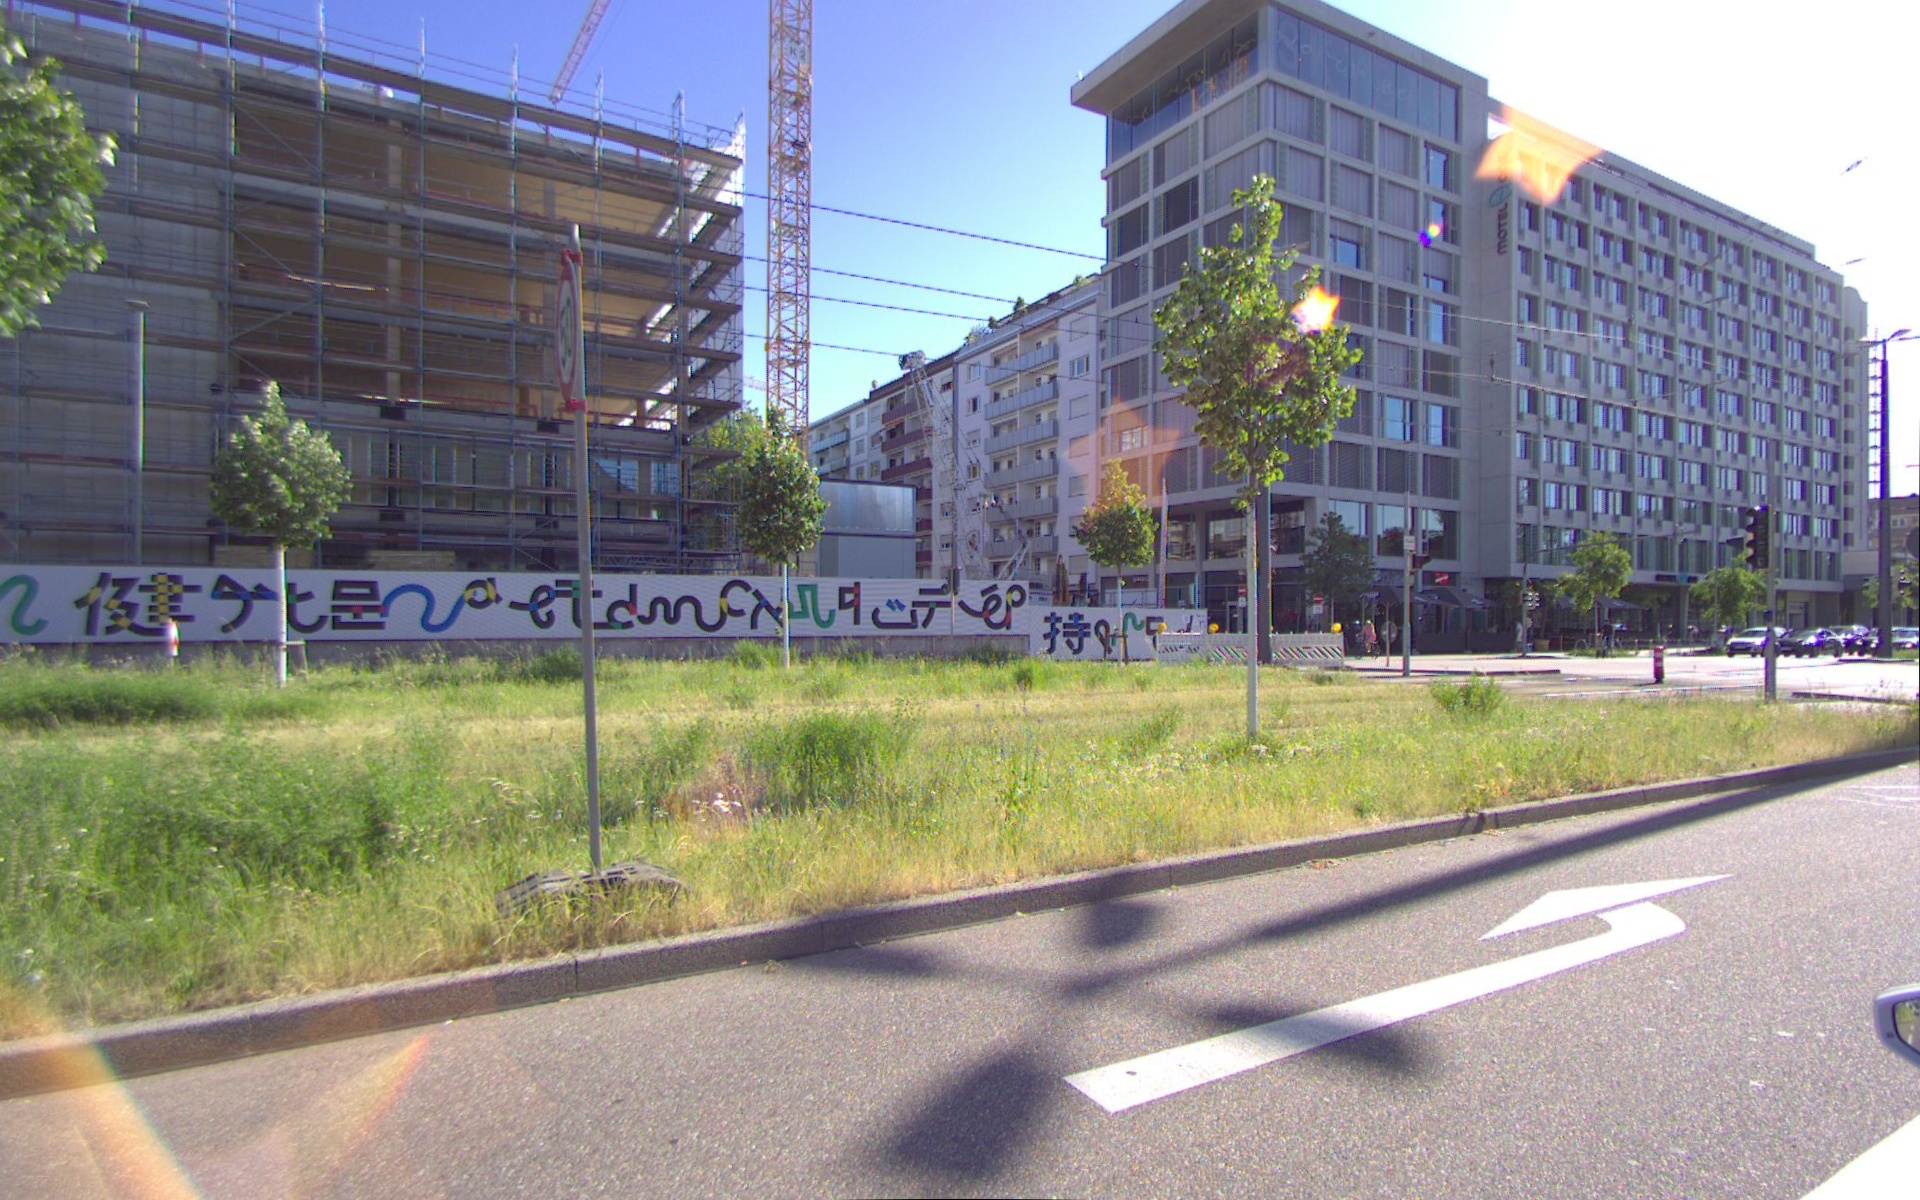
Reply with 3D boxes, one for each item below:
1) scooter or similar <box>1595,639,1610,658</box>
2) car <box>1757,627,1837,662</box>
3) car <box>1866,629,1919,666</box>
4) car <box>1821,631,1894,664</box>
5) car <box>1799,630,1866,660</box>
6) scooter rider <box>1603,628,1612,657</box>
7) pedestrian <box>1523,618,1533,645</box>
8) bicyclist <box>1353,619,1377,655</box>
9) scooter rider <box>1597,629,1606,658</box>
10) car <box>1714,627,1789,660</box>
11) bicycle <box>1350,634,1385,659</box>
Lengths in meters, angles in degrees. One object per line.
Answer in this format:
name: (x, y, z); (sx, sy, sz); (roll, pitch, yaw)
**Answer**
scooter or similar: (33.307, 2.525, 52.089); (0.756, 0.960, 0.285); (1, -1, -24)
car: (40.993, 2.146, 49.208); (3.953, 1.673, 1.782); (1, -1, -30)
car: (44.807, 2.226, 47.430); (4.283, 1.673, 1.782); (1, -1, -30)
car: (48.147, 2.523, 53.860); (3.953, 1.673, 1.782); (1, -1, -30)
car: (50.571, 2.588, 58.200); (3.953, 1.673, 1.782); (1, -1, -30)
scooter rider: (32.763, 2.154, 50.832); (0.236, 1.472, 0.341); (1, -1, -29)
pedestrian: (32.000, 1.780, 56.599); (0.338, 1.513, 0.414); (1, -1, -30)
bicyclist: (18.711, 1.709, 46.411); (0.881, 1.601, 0.591); (1, 1, -27)
scooter rider: (33.238, 2.245, 52.064); (0.236, 1.472, 0.341); (1, -1, -29)
car: (41.595, 2.253, 52.776); (3.953, 1.673, 1.782); (1, -1, -30)
bicycle: (18.793, 2.158, 46.316); (1.601, 1.115, 0.584); (2, 1, -27)
